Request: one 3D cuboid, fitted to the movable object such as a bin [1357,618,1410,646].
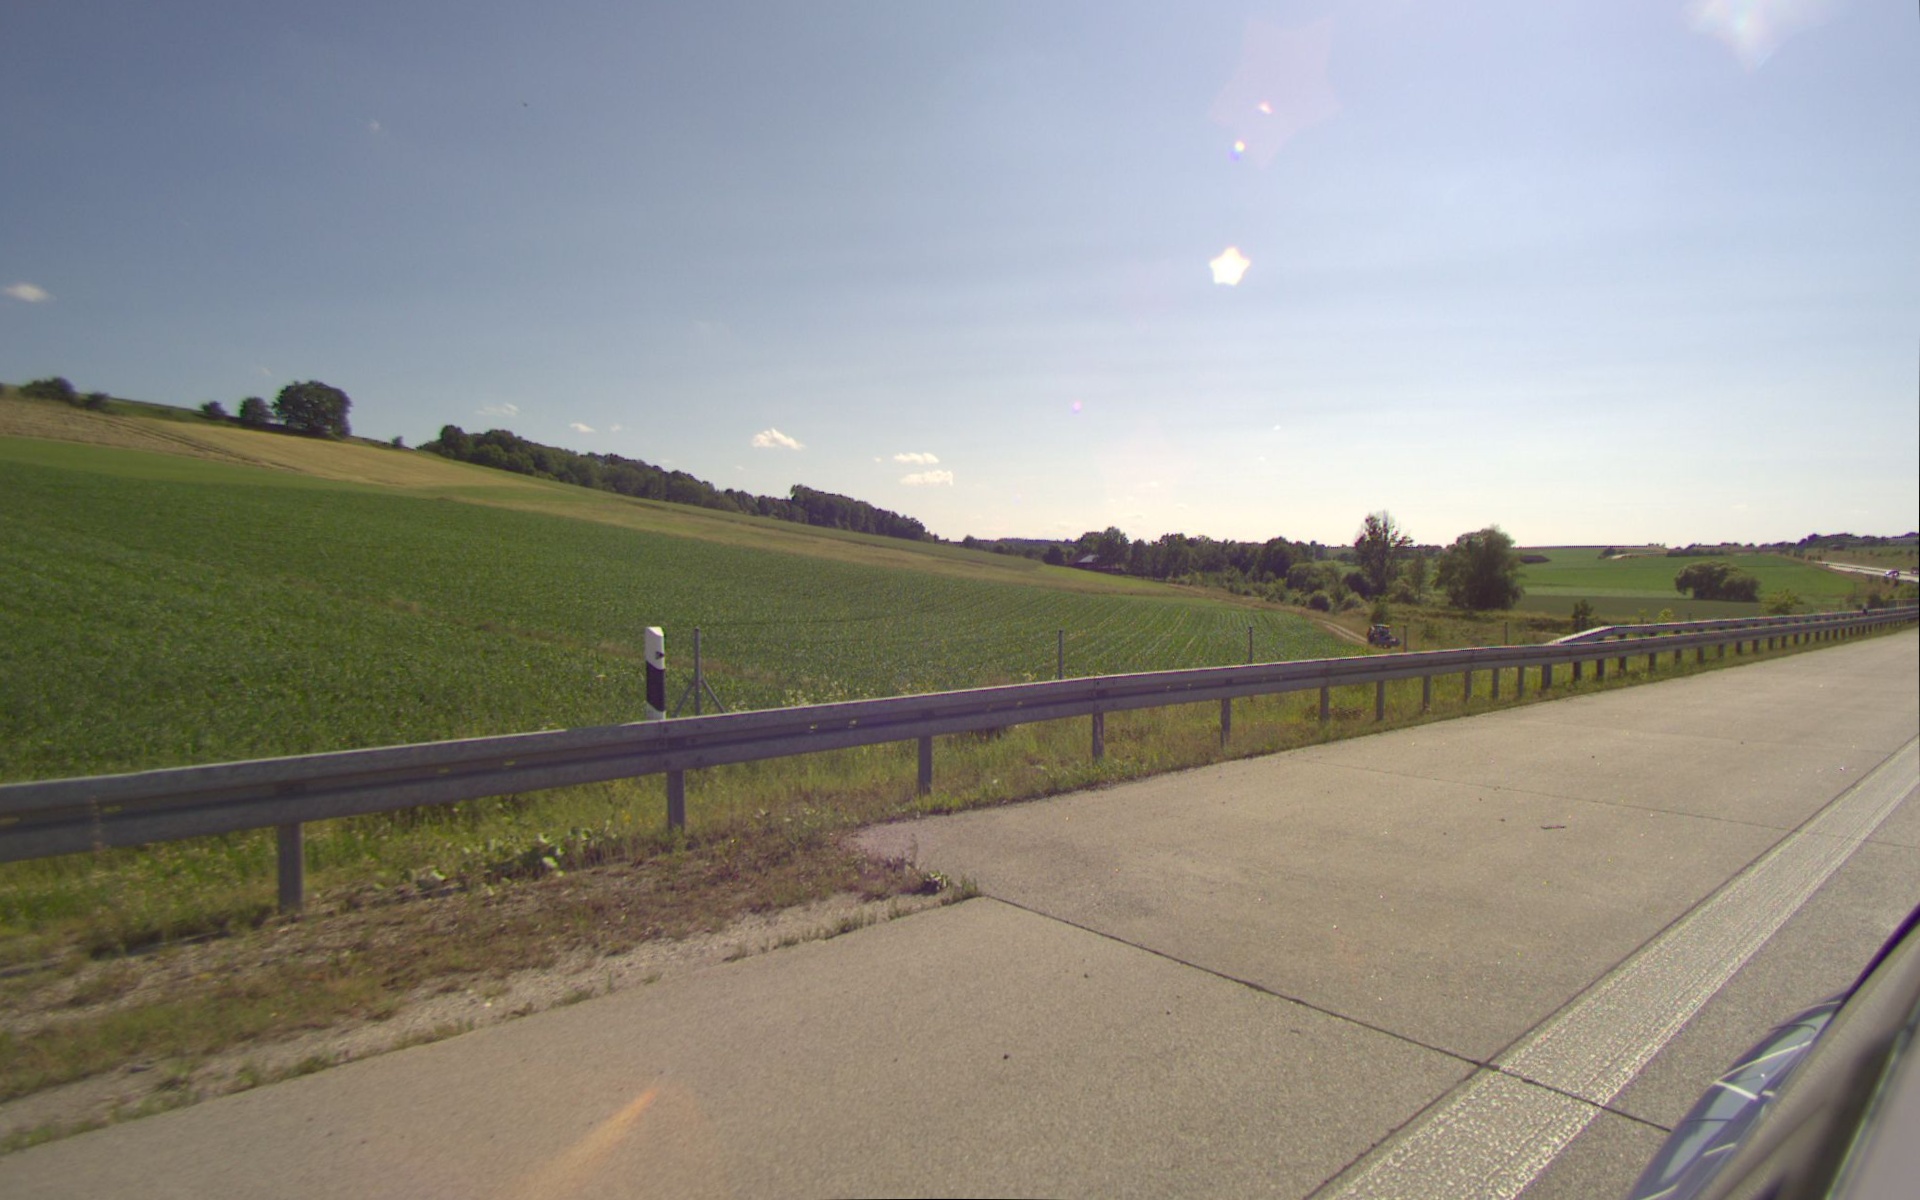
[{"bbox_3d":[48.869,3.637,117.035,3.222,2.805,6.237,-2,1,-3],"label":"movable object such as a bin"}]
